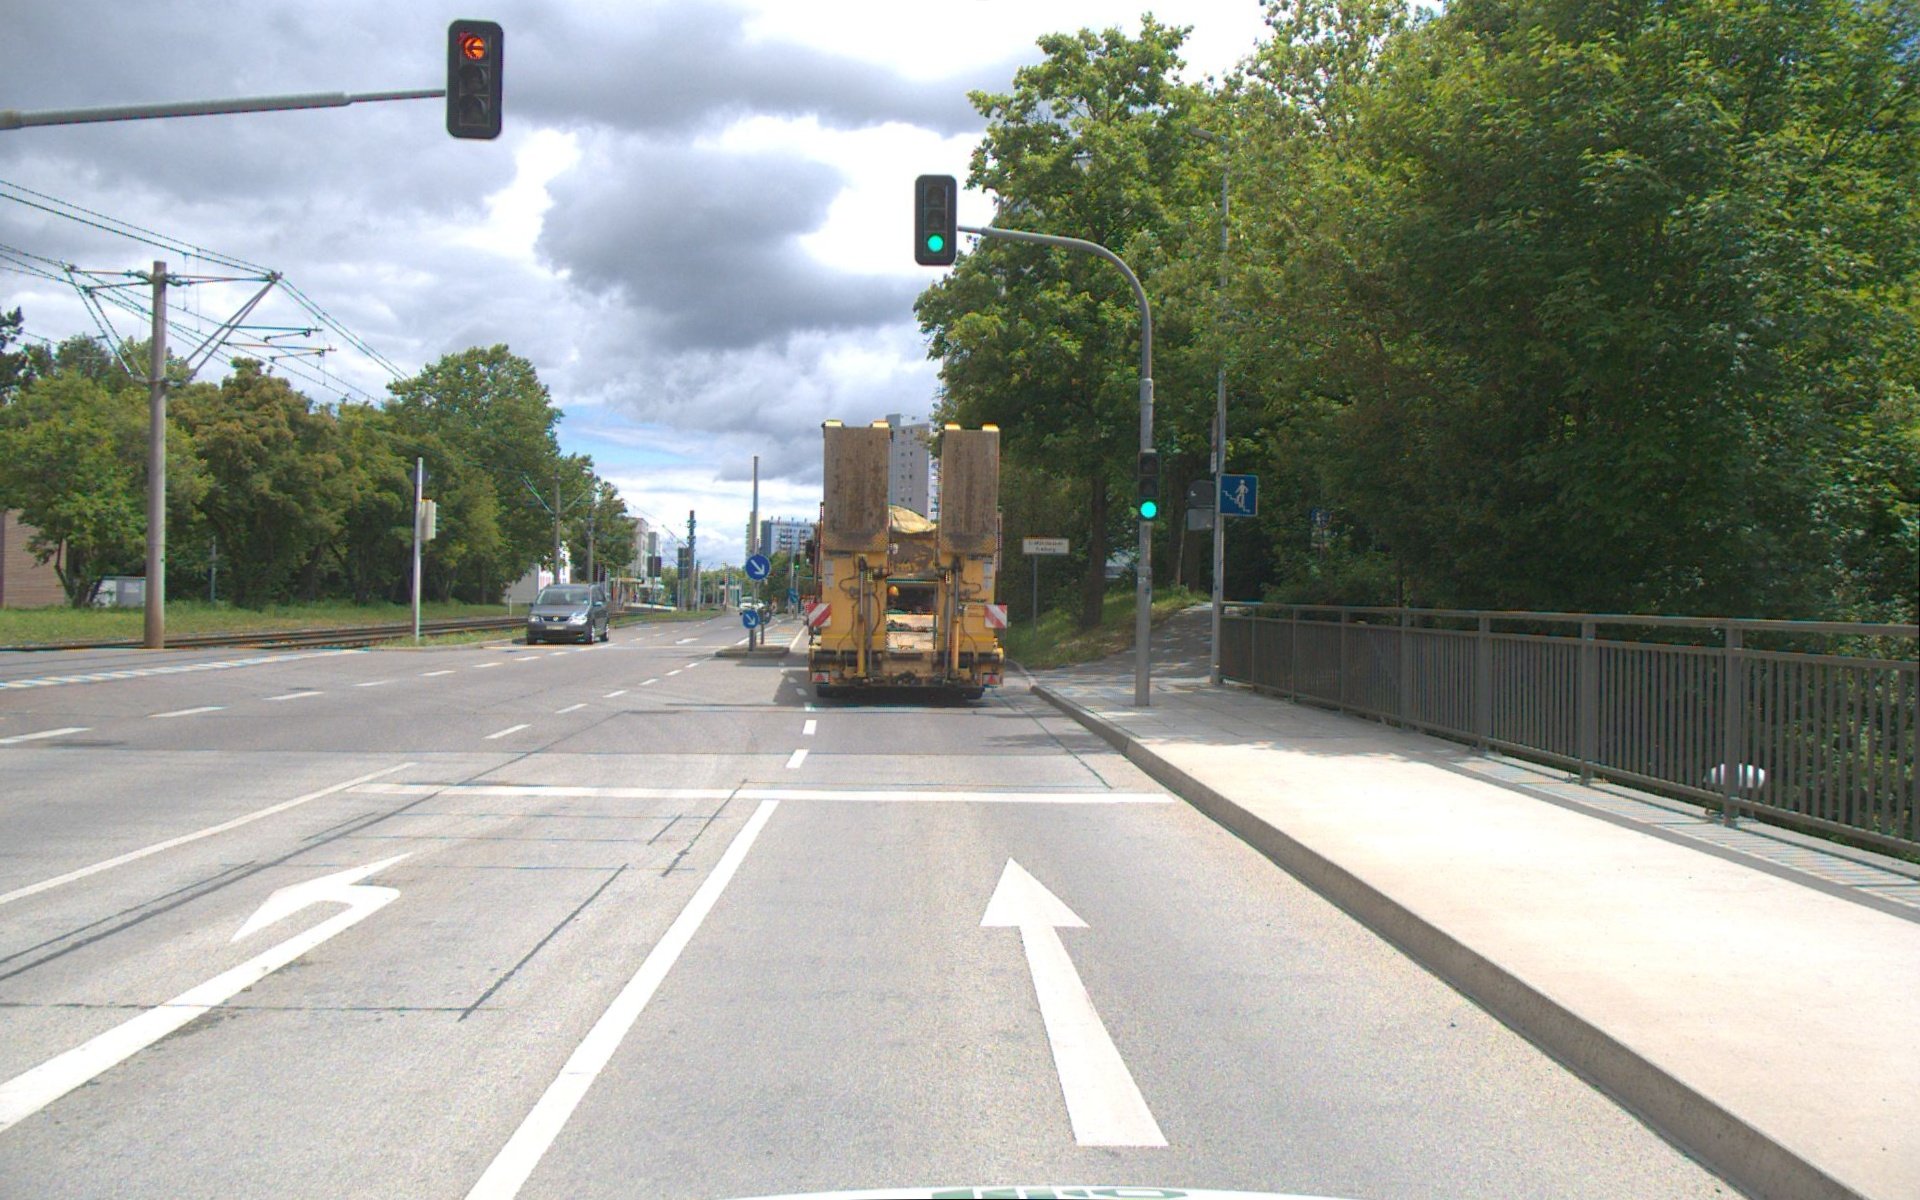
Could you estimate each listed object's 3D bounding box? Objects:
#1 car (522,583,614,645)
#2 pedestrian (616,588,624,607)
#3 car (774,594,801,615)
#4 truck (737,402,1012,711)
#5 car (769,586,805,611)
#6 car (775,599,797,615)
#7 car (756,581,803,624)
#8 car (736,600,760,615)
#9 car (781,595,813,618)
[{"bbox_3d":[-10.665,0.354,45.312,1.749,1.597,4.341,1,0,-4],"label":"car"},{"bbox_3d":[-37.300,-0.251,181.531,0.639,2.049,0.653,3,0,2],"label":"pedestrian"},{"bbox_3d":[-14.358,0.381,137.975,1.954,1.646,3.998,3,0,-3],"label":"car"},{"bbox_3d":[-0.871,-0.548,26.854,3.247,3.714,12.565,2,0,2],"label":"truck"},{"bbox_3d":[-10.813,-0.111,103.502,1.954,1.445,3.997,3,0,-3],"label":"car"},{"bbox_3d":[-14.936,0.595,142.204,1.749,1.294,4.341,1,0,-4],"label":"car"},{"bbox_3d":[-8.762,0.123,80.491,1.954,1.959,3.997,3,0,-3],"label":"car"},{"bbox_3d":[-18.613,0.674,145.338,1.749,1.294,4.341,1,0,-4],"label":"car"},{"bbox_3d":[-11.162,0.420,113.490,1.954,1.445,3.997,3,0,-3],"label":"car"}]
